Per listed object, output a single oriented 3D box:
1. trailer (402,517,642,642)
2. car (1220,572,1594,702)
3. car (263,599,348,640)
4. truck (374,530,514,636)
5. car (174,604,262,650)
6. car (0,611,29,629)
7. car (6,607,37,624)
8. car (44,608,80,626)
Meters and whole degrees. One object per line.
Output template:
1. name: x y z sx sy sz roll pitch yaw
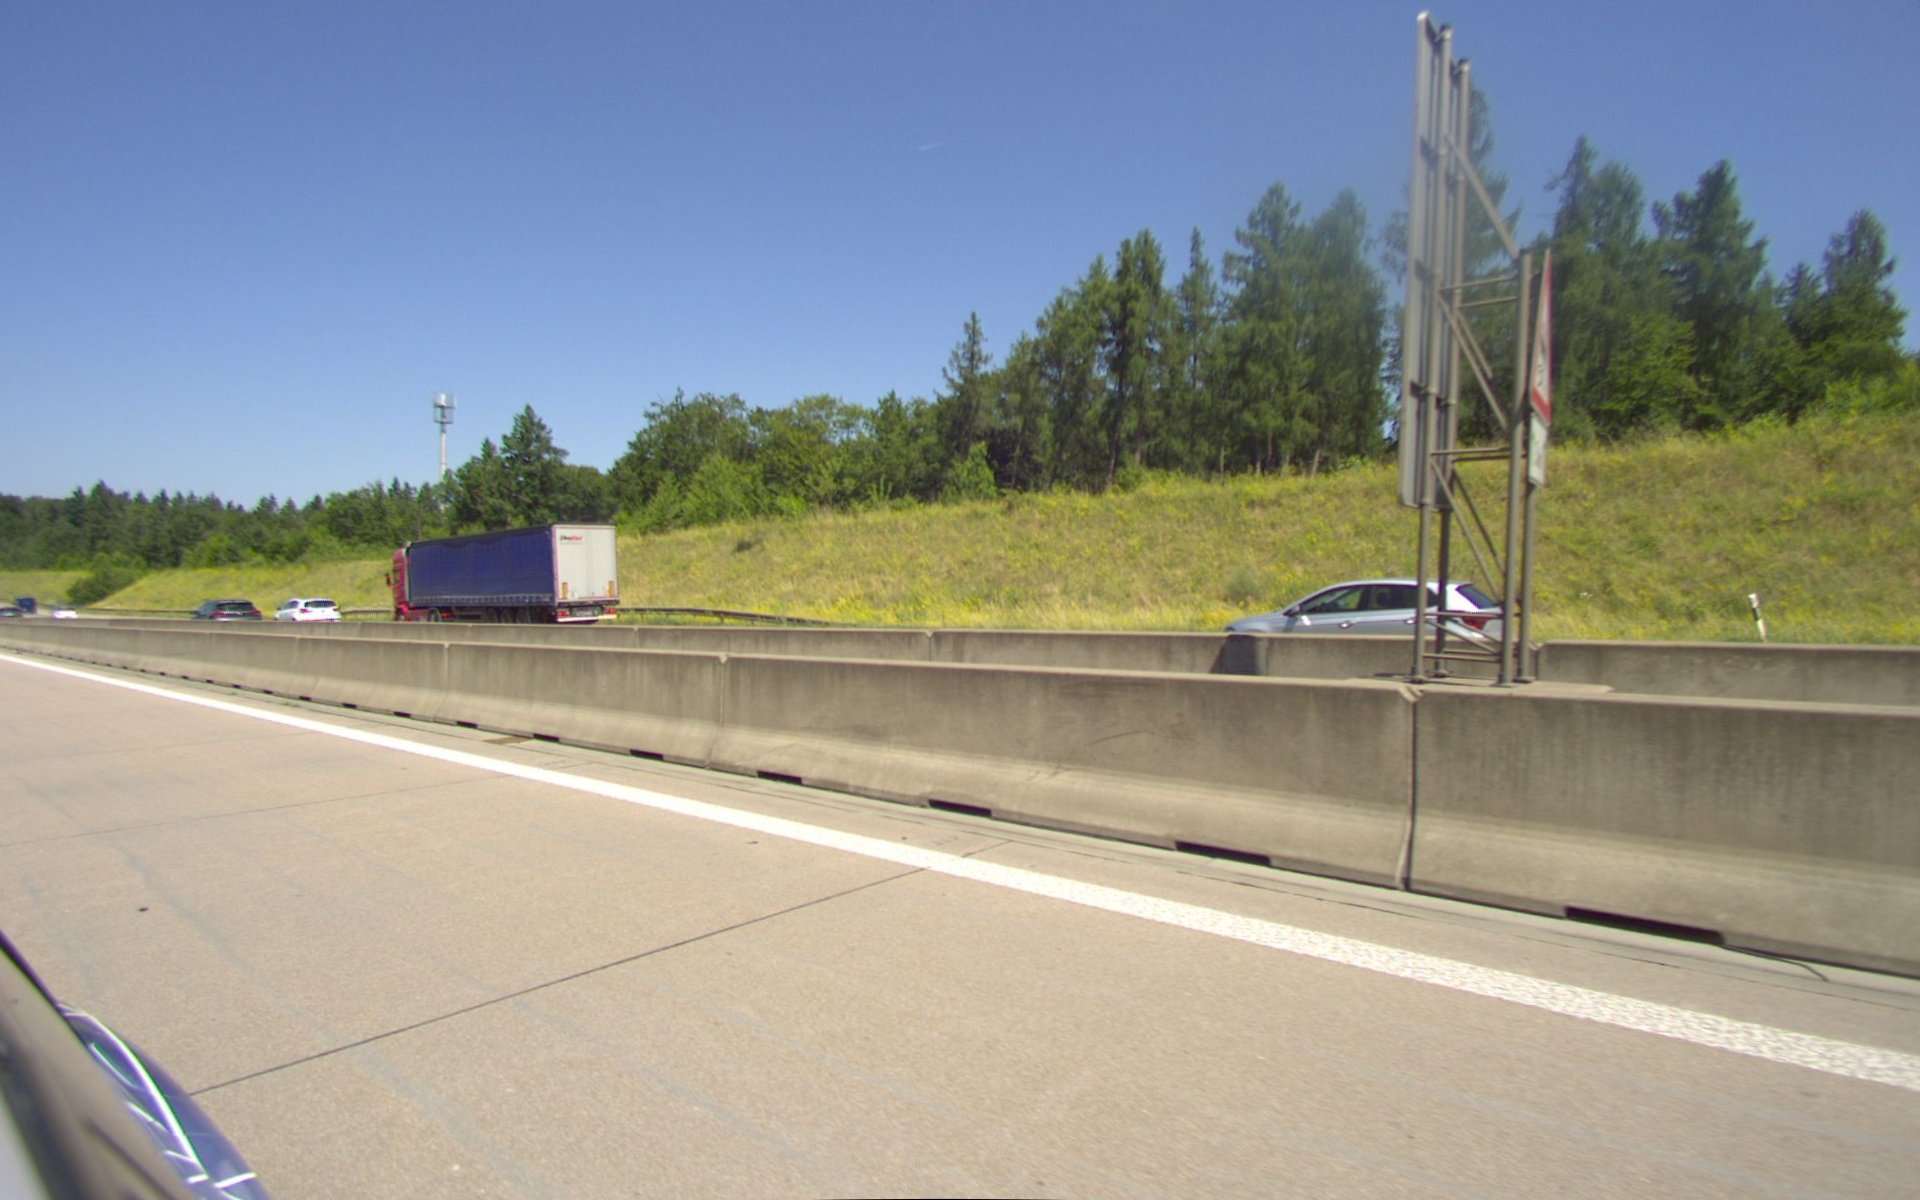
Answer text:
1. trailer: -18.515 -0.774 41.875 13.917 4.464 3.352 0 2 41
2. car: 6.248 0.460 14.450 4.496 1.570 1.973 -1 0 41
3. car: -29.667 0.861 45.832 4.813 1.705 1.973 -1 1 41
4. truck: -23.728 -0.771 46.439 6.797 4.464 3.352 0 2 41
5. car: -30.250 1.074 41.216 4.369 1.705 1.973 -1 1 41
6. car: -89.373 1.858 95.351 4.194 1.549 1.973 -1 1 41
7. car: -130.100 2.171 140.289 6.456 2.226 2.455 -1 1 41
8. car: -83.017 1.563 93.570 3.998 1.575 1.973 -1 1 41
